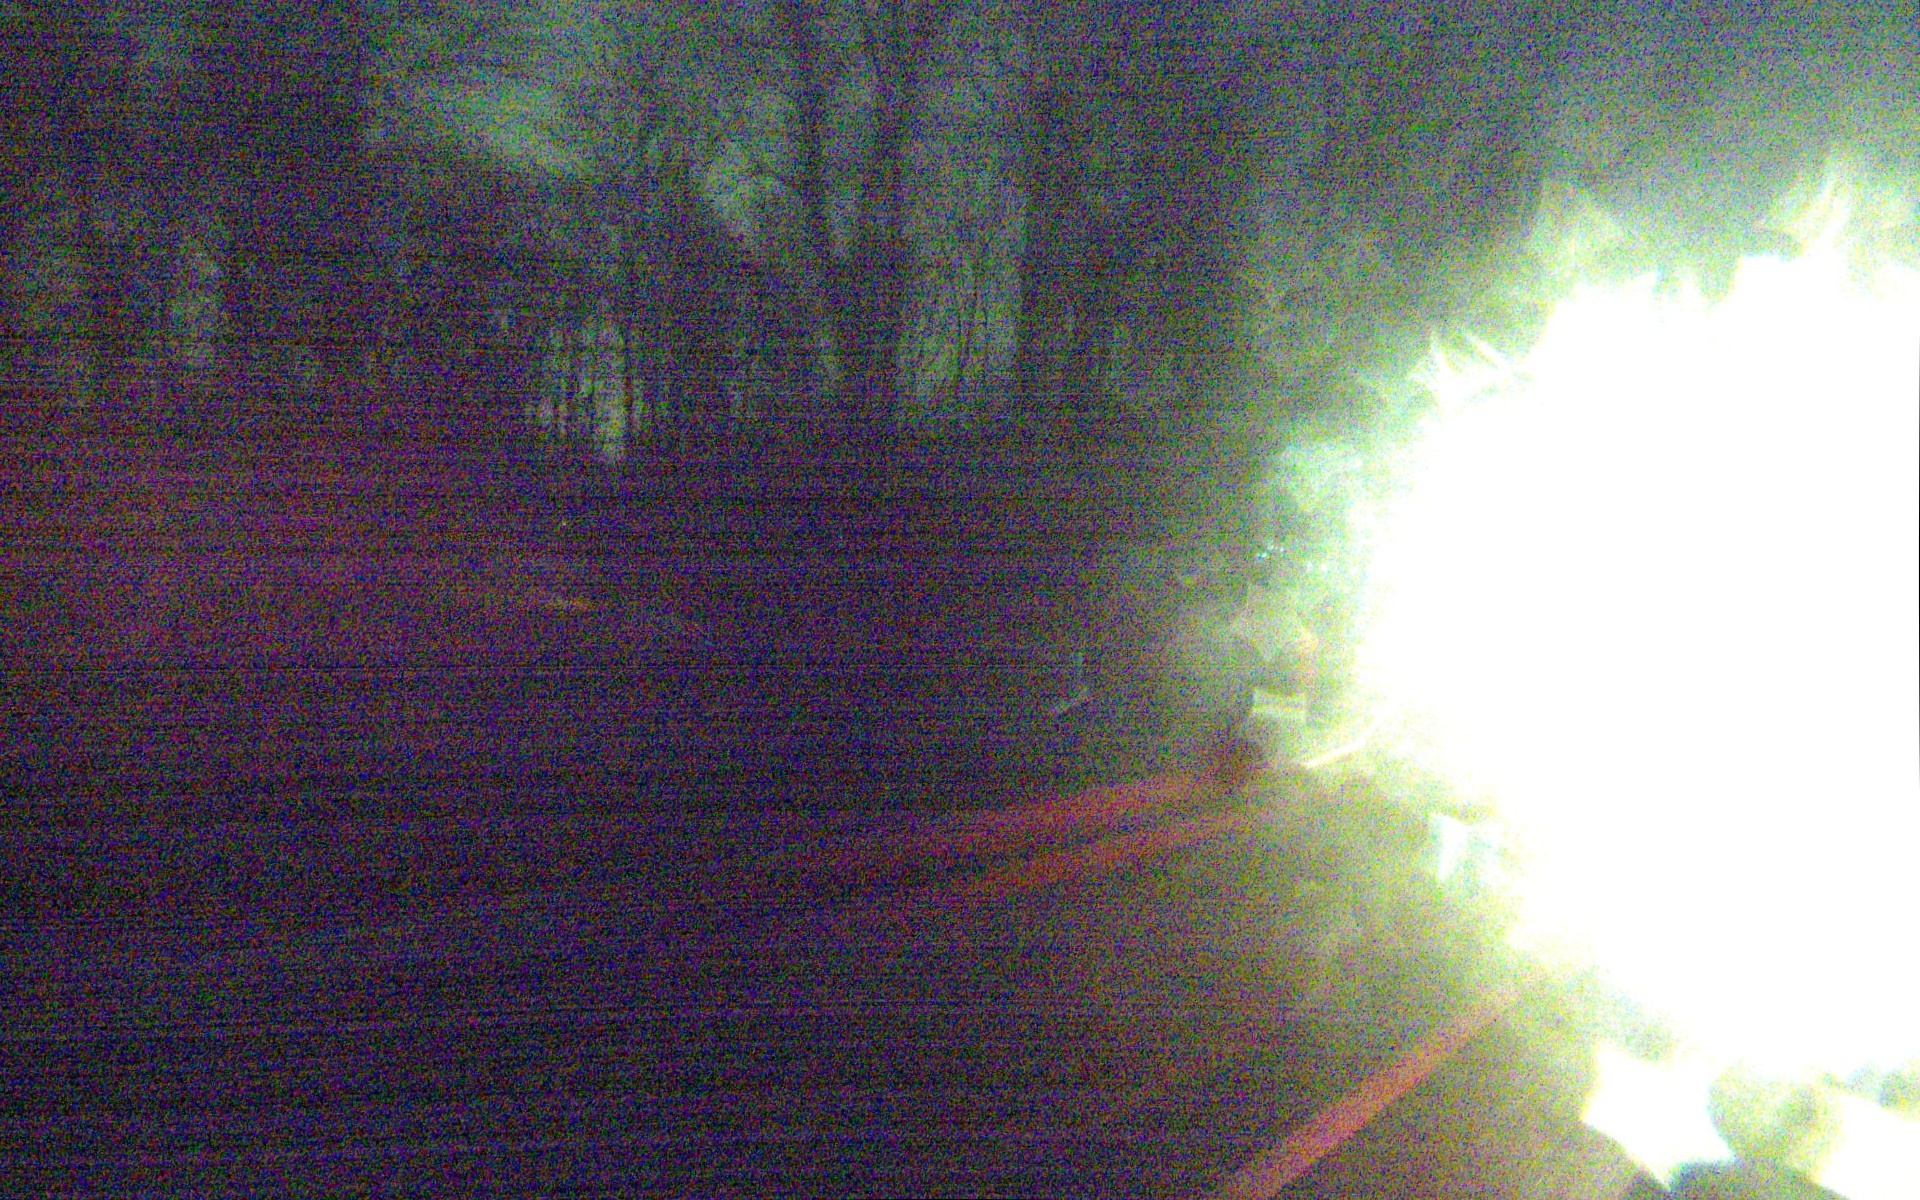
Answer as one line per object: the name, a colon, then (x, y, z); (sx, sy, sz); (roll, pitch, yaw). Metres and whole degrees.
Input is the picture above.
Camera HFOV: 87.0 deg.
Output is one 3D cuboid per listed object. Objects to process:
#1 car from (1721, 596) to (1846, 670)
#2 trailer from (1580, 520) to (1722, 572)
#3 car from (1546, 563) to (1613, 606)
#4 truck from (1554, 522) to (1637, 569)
car: (23.042, 0.847, 28.490); (1.876, 1.631, 3.964); (3, 4, 28)
trailer: (56.807, -4.498, 83.901); (3.389, 3.924, 13.357); (0, 3, 4)
car: (31.774, -0.801, 52.049); (1.974, 2.039, 3.976); (-4, 0, 19)
truck: (57.547, -4.936, 91.932); (3.350, 4.021, 7.449); (1, 3, 6)
